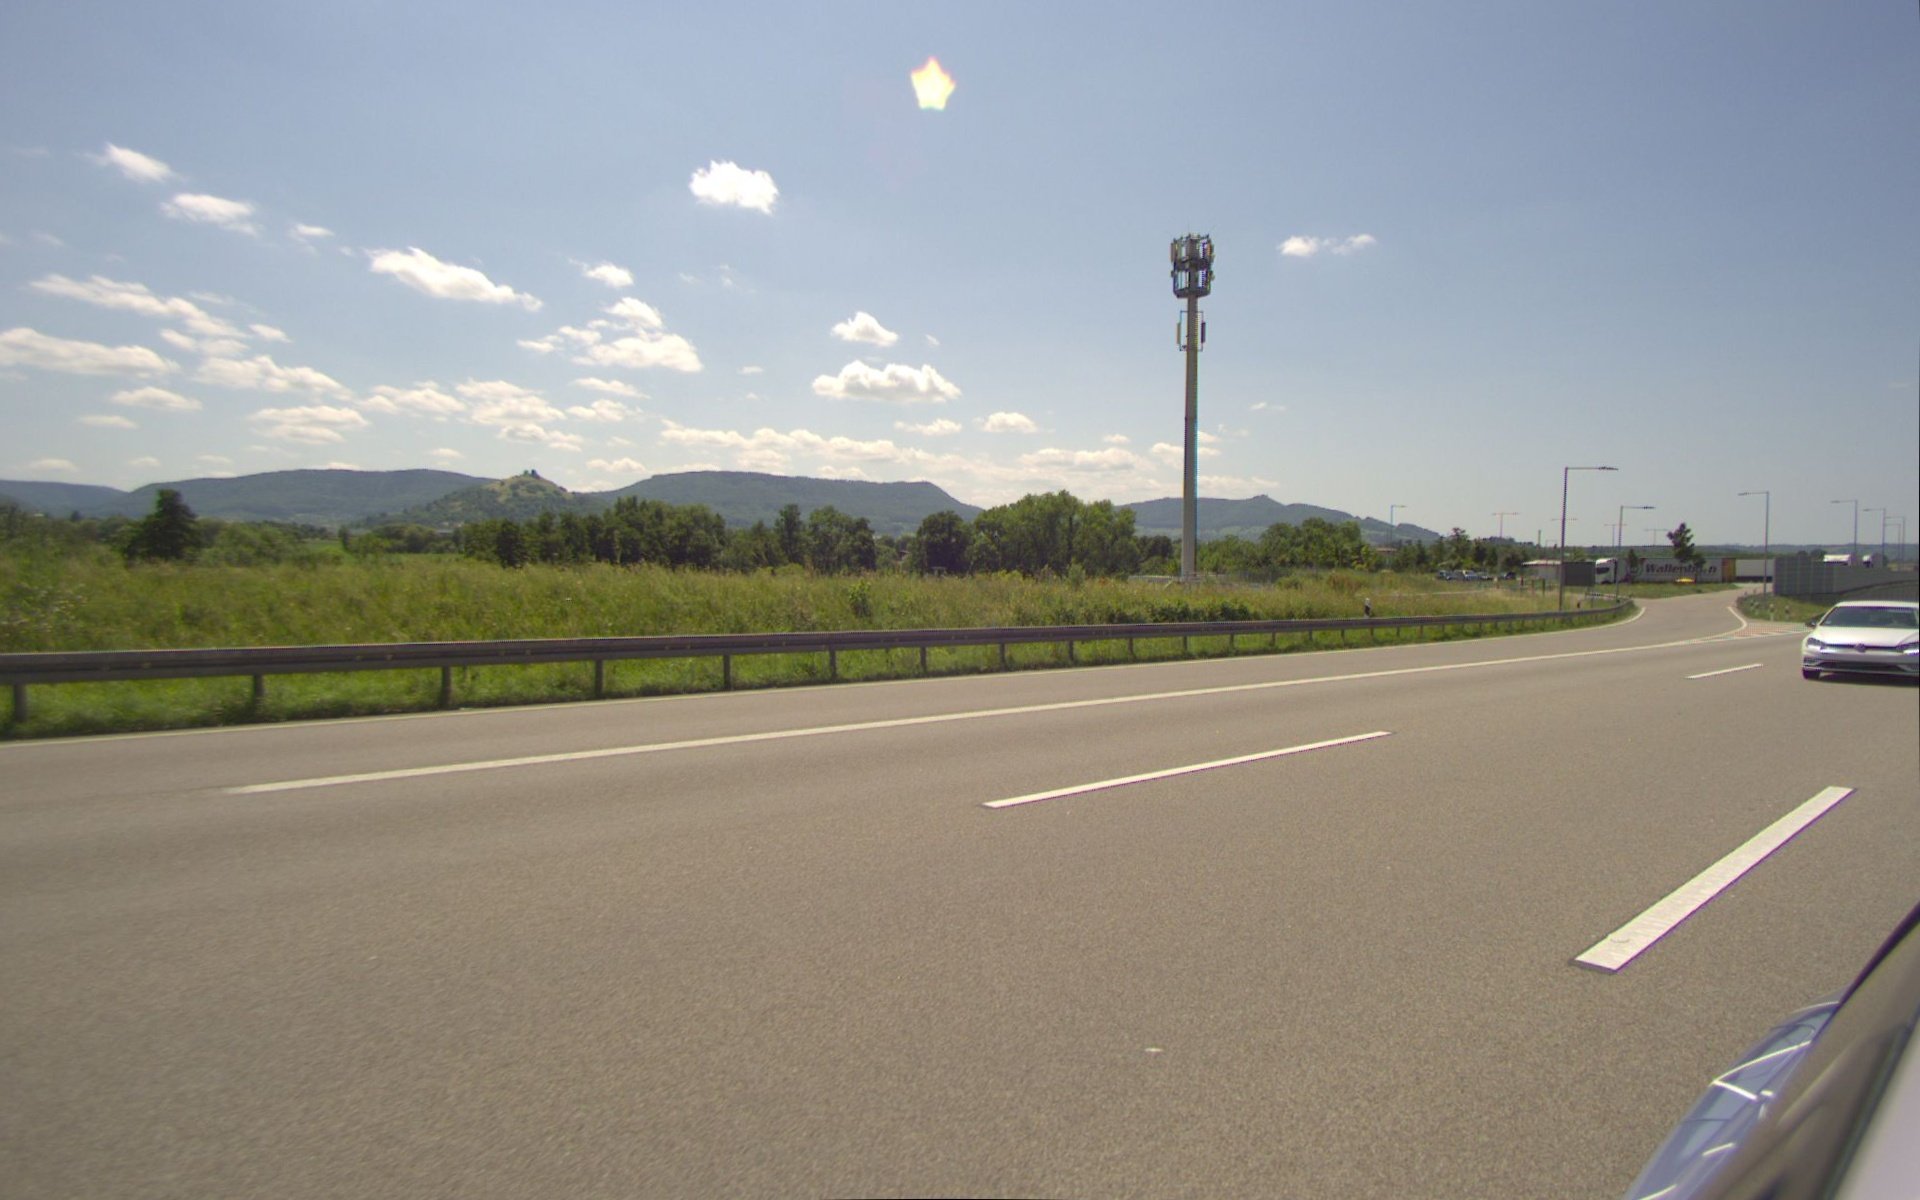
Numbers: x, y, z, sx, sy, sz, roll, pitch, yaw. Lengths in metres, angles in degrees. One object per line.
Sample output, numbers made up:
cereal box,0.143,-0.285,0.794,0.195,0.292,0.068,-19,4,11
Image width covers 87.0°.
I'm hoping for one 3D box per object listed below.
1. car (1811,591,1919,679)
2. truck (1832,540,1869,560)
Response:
car,17.697,0.575,19.172,4.610,1.451,1.778,-1,1,-42
truck,109.107,-6.138,123.996,7.165,2.232,2.710,-1,1,-43
